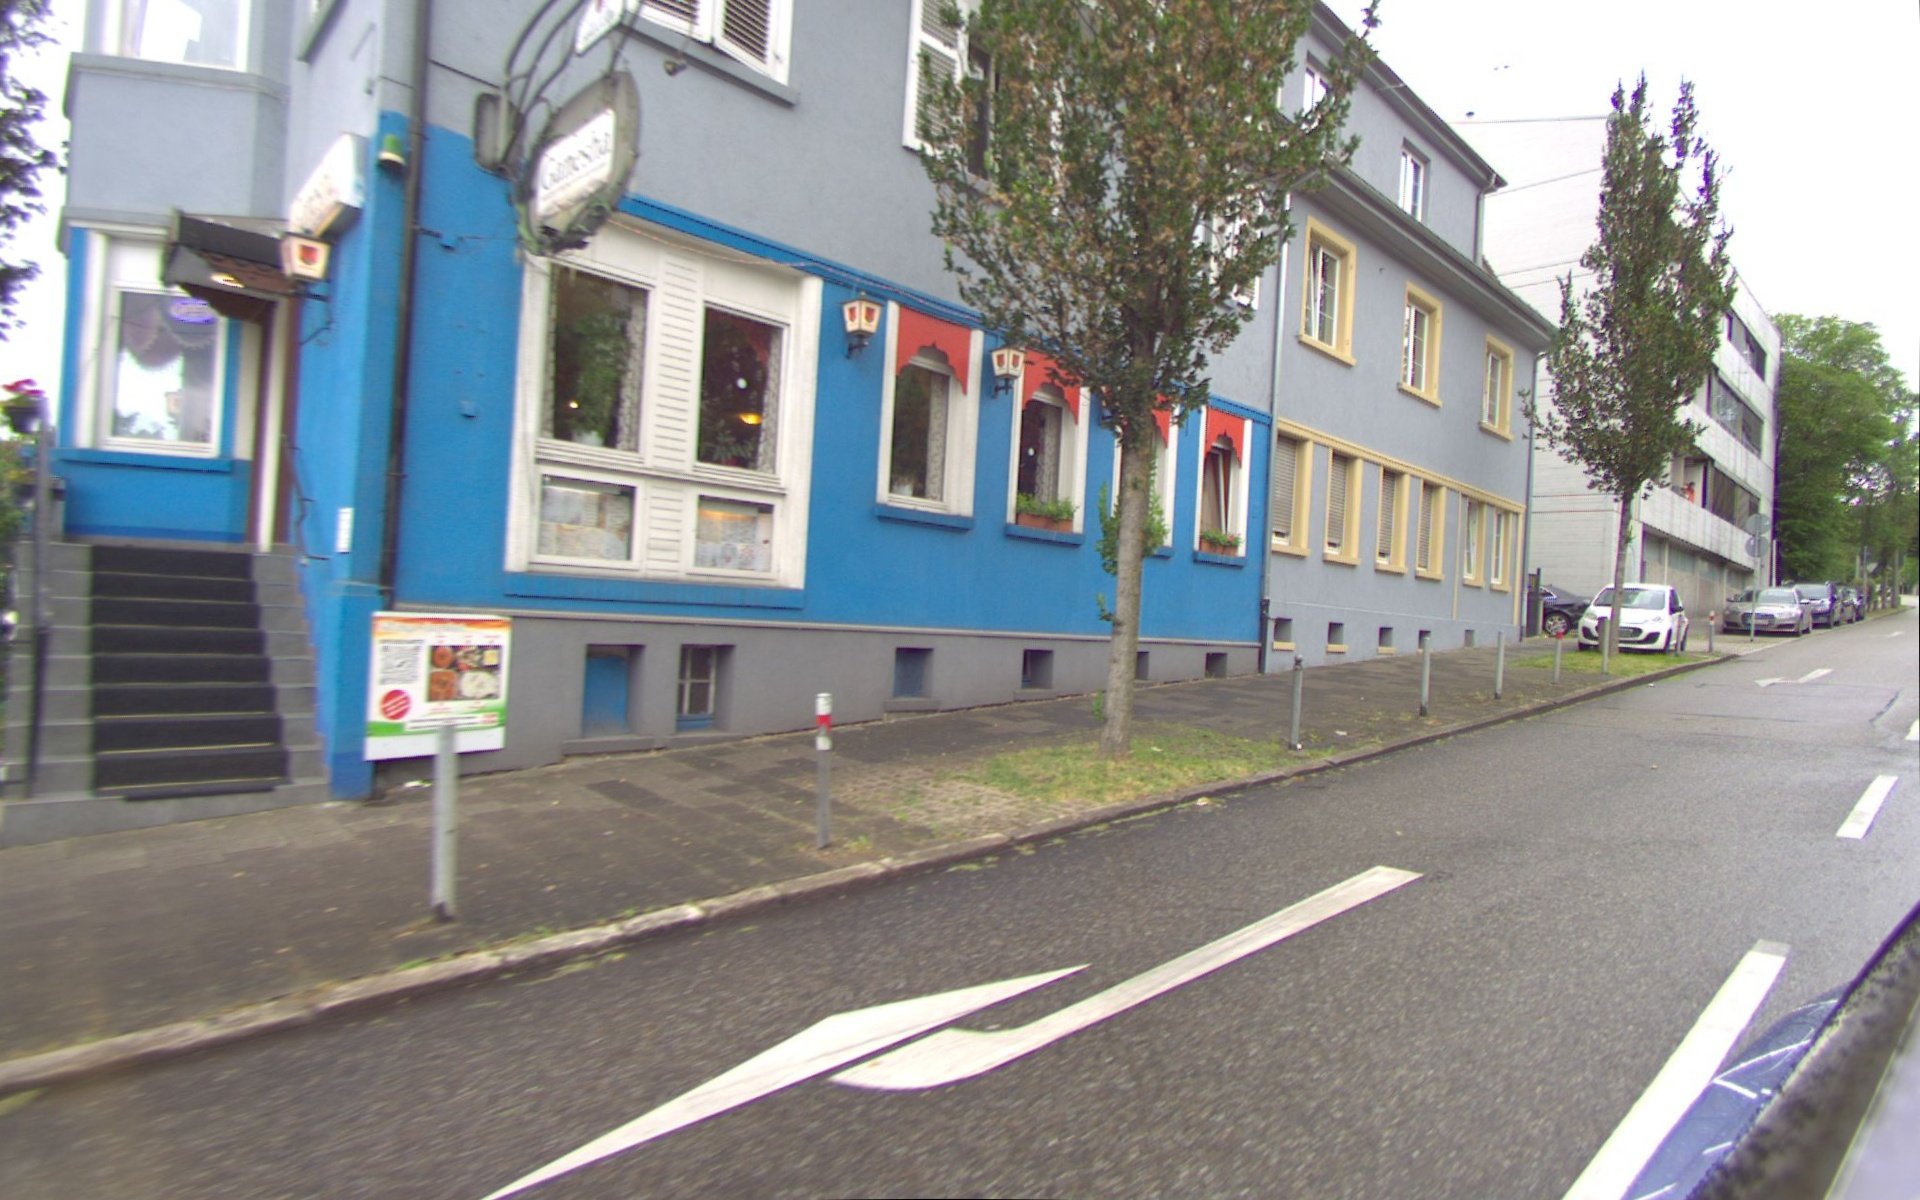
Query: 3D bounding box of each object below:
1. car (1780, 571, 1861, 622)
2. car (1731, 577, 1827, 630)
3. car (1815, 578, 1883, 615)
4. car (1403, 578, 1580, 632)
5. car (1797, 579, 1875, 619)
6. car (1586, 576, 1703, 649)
[{"bbox_3d":[30.965,-0.170,36.383,4.273,1.695,1.747,-1,2,-44],"label":"car"},{"bbox_3d":[25.294,0.054,31.199,1.815,1.477,4.666,2,3,45],"label":"car"},{"bbox_3d":[38.527,-0.189,43.828,4.087,1.461,1.841,-1,4,-44],"label":"car"},{"bbox_3d":[15.014,0.116,28.660,4.334,1.425,1.789,0,1,32],"label":"car"},{"bbox_3d":[34.558,-0.084,39.900,4.025,1.462,1.710,-1,2,-40],"label":"car"},{"bbox_3d":[14.826,0.211,21.873,1.586,1.429,3.403,2,2,43],"label":"car"}]
